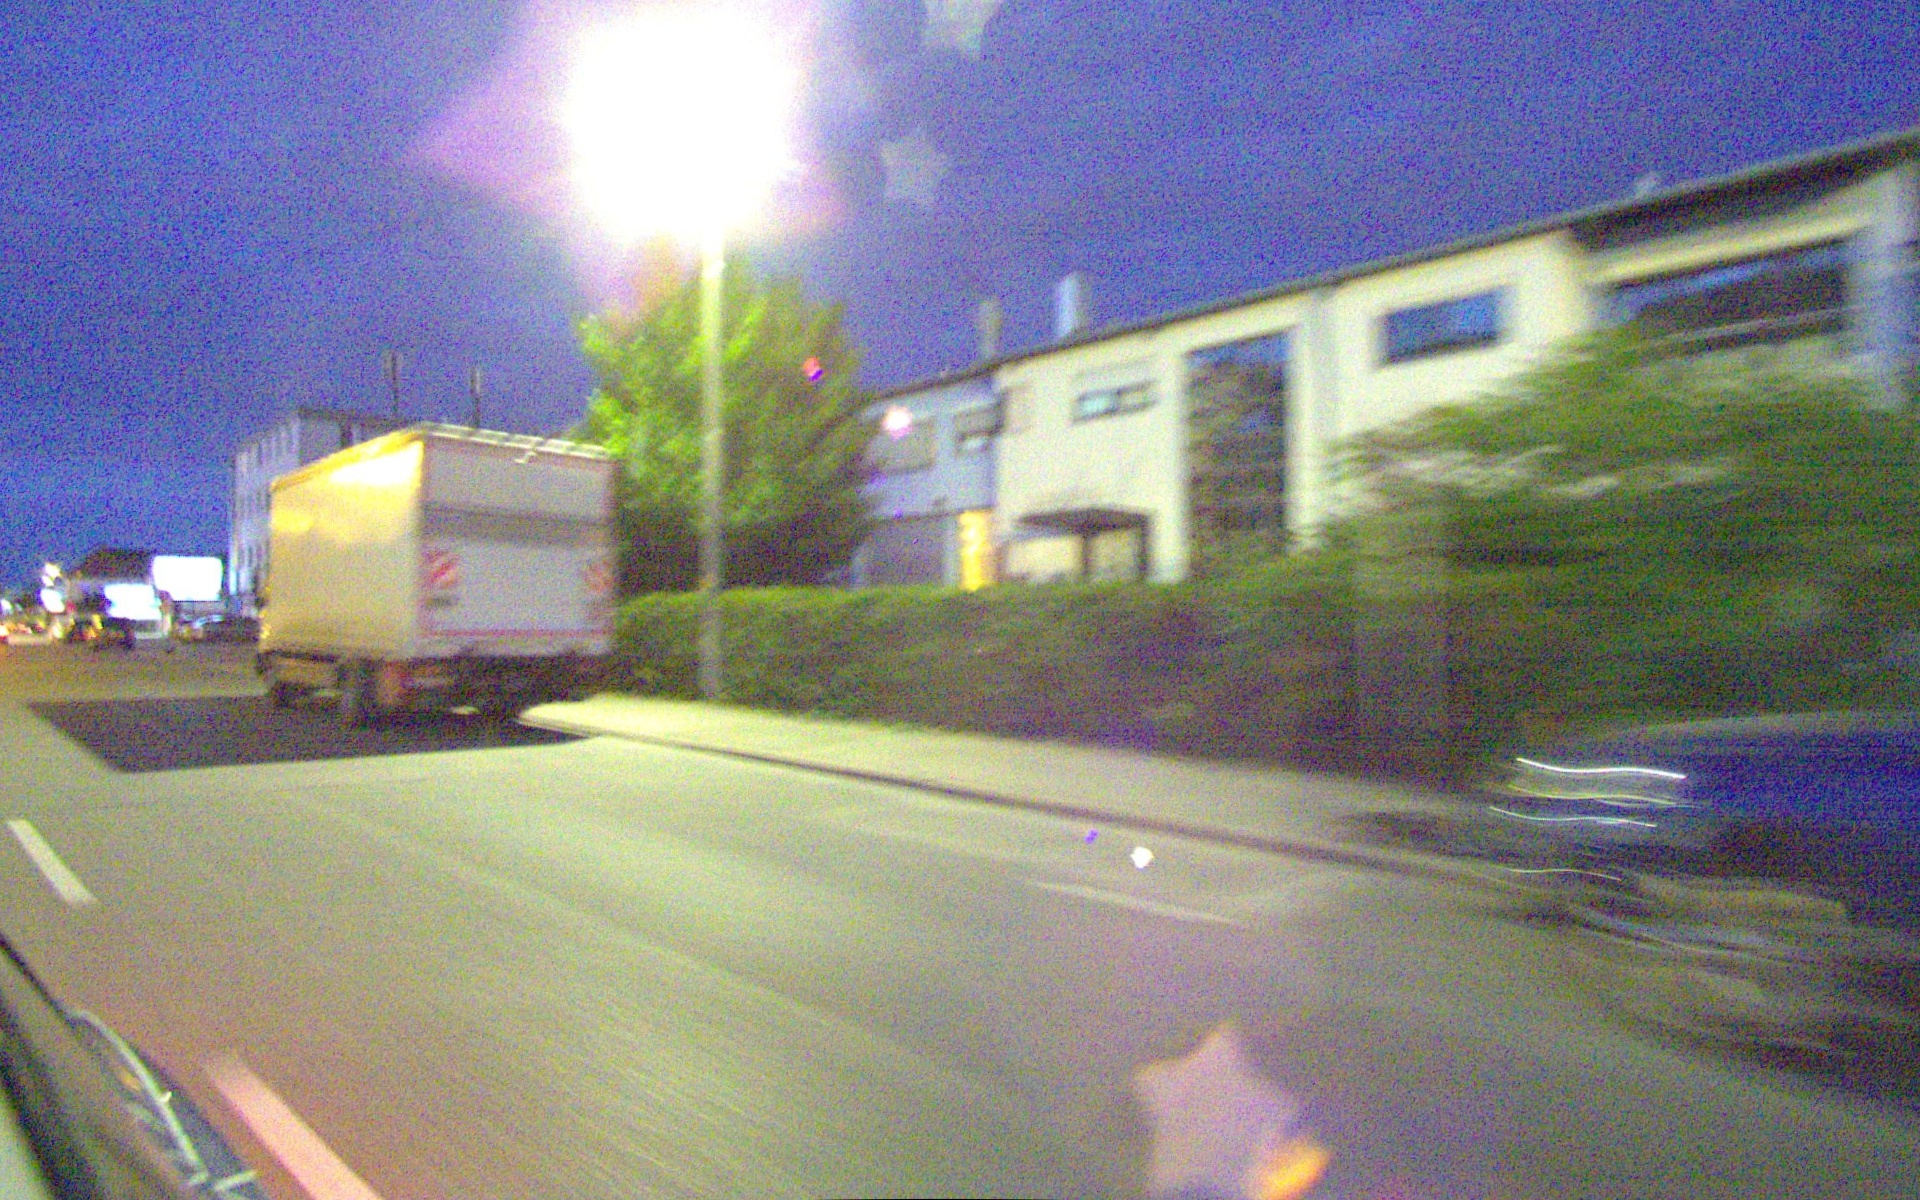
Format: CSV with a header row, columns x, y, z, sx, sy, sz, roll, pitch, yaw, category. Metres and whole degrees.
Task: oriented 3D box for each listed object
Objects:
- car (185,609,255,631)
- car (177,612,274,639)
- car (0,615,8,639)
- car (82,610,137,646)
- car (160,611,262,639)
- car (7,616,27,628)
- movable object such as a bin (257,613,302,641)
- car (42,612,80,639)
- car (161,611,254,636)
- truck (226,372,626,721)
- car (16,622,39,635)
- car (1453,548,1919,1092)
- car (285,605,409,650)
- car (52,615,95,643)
x,y,z,sx,sy,sz,roll,pitch,yaw,category
-58.889,1.593,80.607,4.347,1.666,1.924,0,-1,-43,car
-42.252,1.450,58.322,1.777,1.451,4.391,0,-1,16,car
-58.872,1.602,61.122,4.002,1.431,1.836,-1,-1,44,car
-45.009,1.453,53.541,4.416,1.863,1.793,-1,-1,44,car
-44.402,1.464,60.117,1.982,1.563,4.647,0,-1,16,car
-114.272,2.628,122.596,1.667,1.375,3.882,-1,0,-44,car
-38.077,1.496,56.620,1.836,1.511,1.610,0,-1,-45,movable object such as a bin
-63.564,1.775,71.562,1.783,1.812,4.881,1,-2,-44,car
-47.899,1.478,64.498,1.985,1.572,4.384,0,-1,21,car
-8.942,-0.563,16.091,9.561,4.064,2.716,-1,-1,43,truck
-100.616,3.047,109.183,1.736,1.401,4.312,1,-1,-43,car
4.598,0.698,3.154,5.195,1.730,1.923,-1,-1,41,car
-24.726,1.083,41.011,4.071,1.443,1.903,-5,1,-27,car
-55.909,1.830,63.820,1.924,1.701,4.821,1,-1,-43,car
